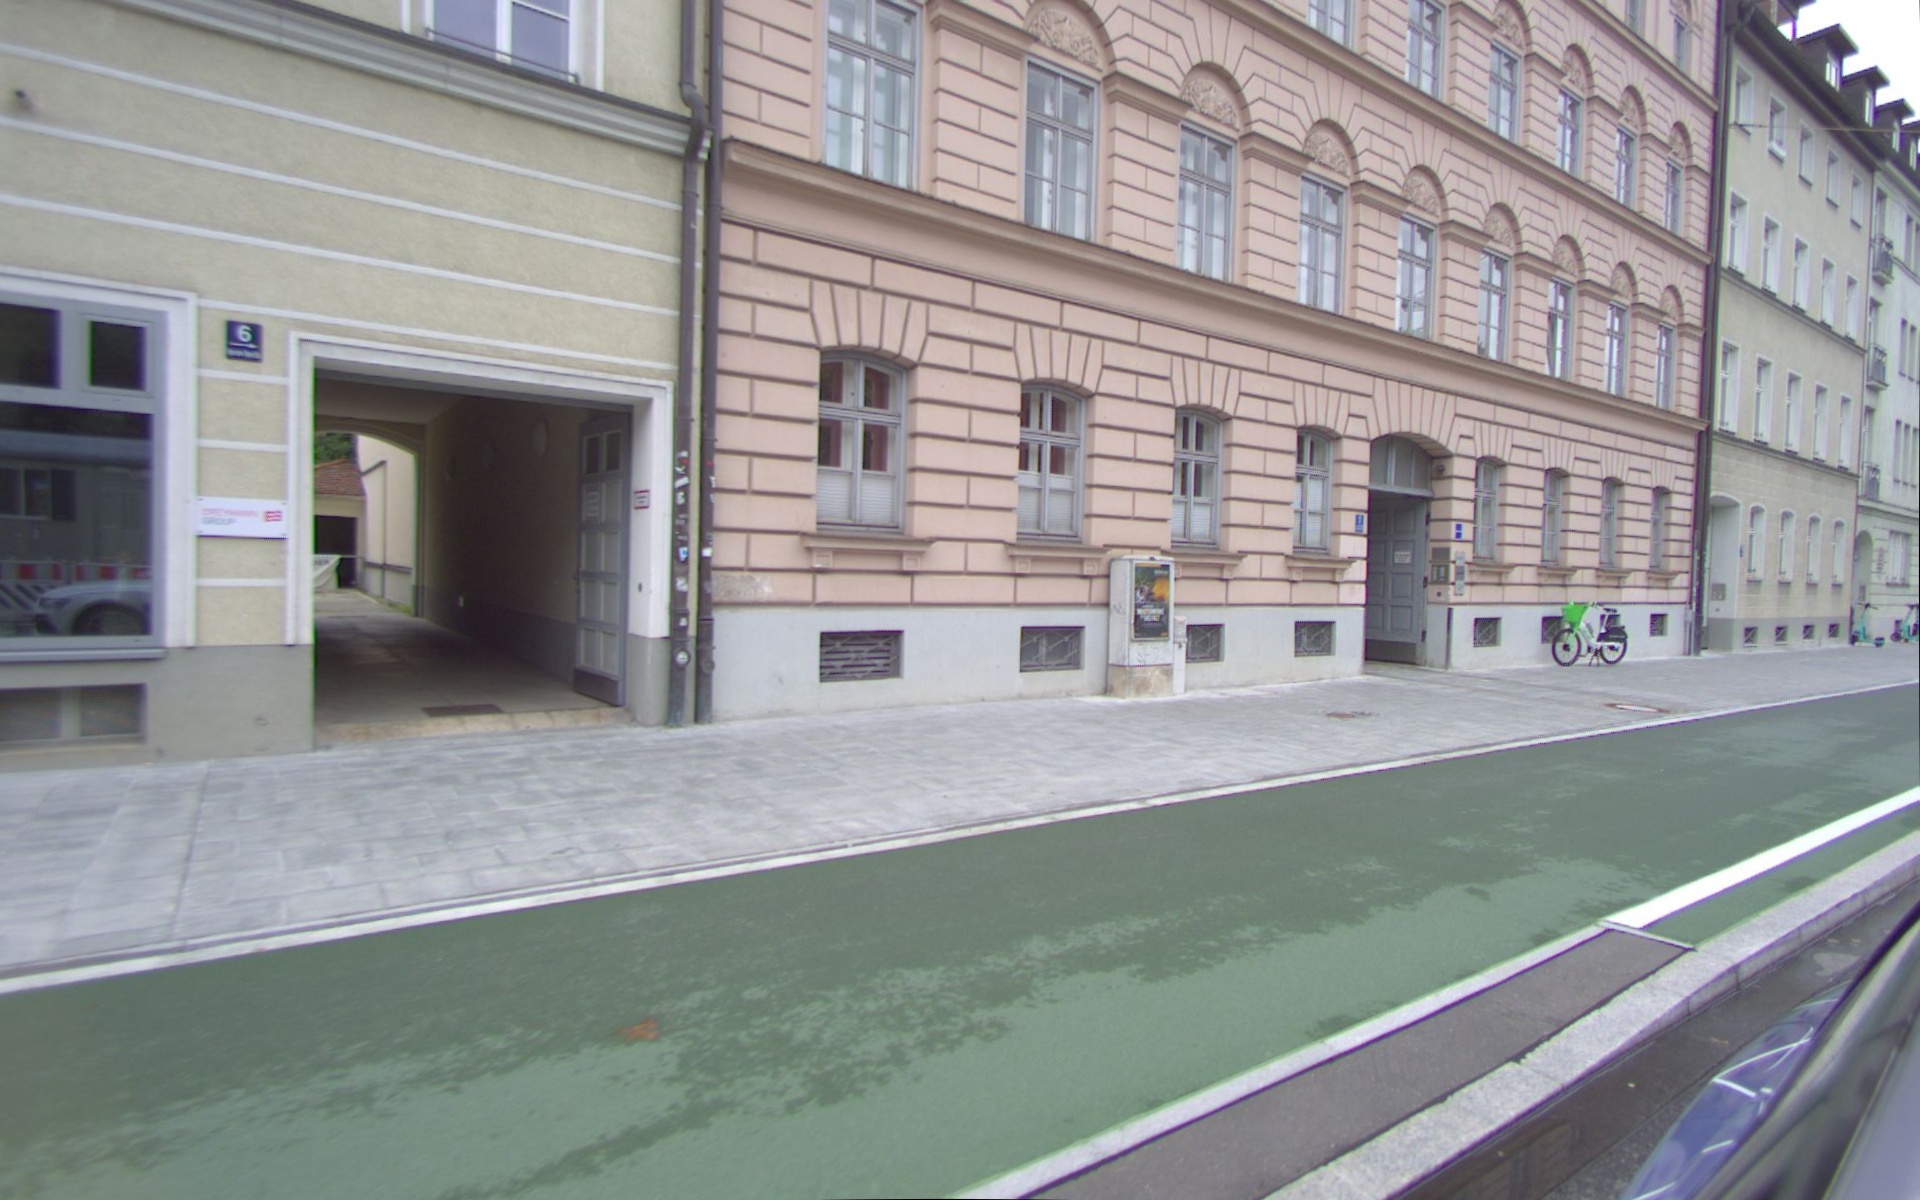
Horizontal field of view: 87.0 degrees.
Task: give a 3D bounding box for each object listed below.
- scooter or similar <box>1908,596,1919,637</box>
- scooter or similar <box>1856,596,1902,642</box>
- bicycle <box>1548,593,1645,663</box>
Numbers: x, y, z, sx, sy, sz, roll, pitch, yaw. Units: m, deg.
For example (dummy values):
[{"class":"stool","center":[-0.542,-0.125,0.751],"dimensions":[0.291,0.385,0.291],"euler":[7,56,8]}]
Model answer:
[{"class":"scooter or similar","center":[30.112,0.542,31.260],"dimensions":[1.106,1.245,0.245],"euler":[4,3,22]},{"class":"scooter or similar","center":[26.031,0.537,28.661],"dimensions":[1.096,1.245,0.248],"euler":[2,3,-10]},{"class":"bicycle","center":[11.306,0.494,17.965],"dimensions":[1.695,1.188,0.428],"euler":[1,2,-19]}]
